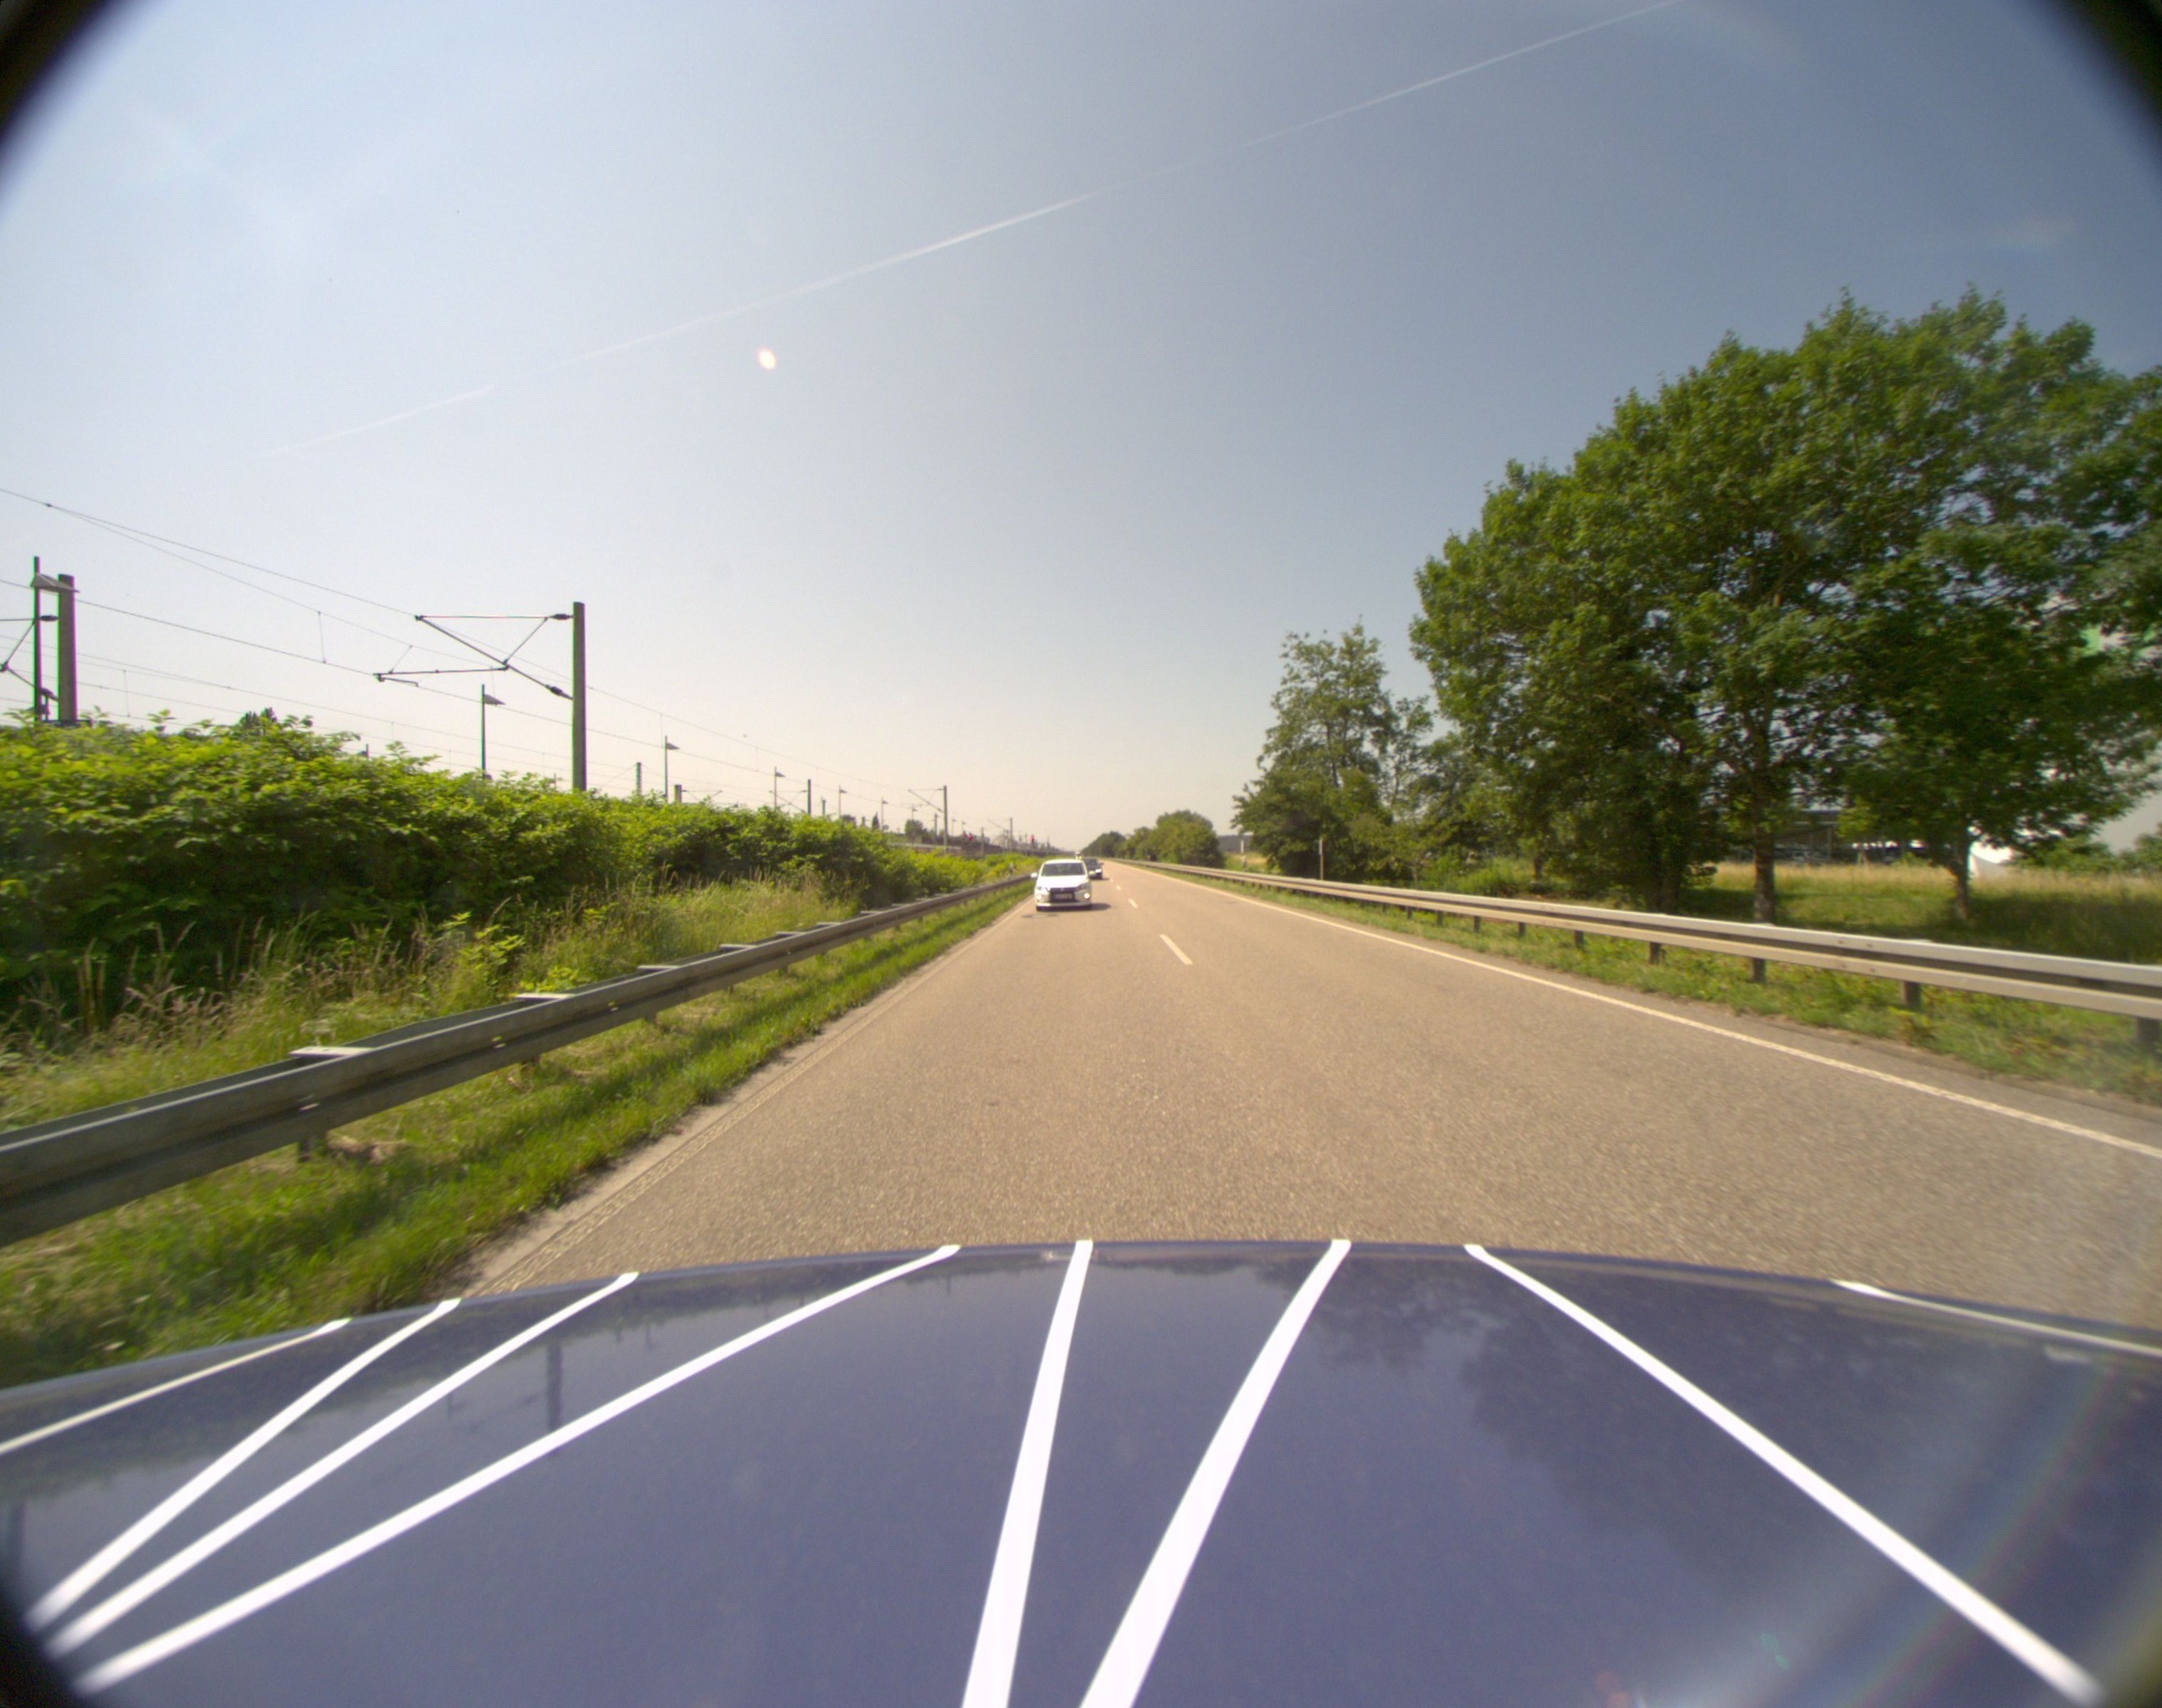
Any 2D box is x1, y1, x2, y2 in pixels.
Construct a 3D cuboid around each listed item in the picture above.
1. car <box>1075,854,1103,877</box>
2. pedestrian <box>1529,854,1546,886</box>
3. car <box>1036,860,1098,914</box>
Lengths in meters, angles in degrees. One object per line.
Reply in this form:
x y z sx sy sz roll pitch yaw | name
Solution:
0.535 0.753 51.640 1.711 1.470 4.154 -1 0 -1 | car
25.293 0.882 42.105 0.717 1.739 0.939 -1 1 33 | pedestrian
-0.441 0.942 23.463 1.701 1.470 4.154 -1 0 -1 | car
